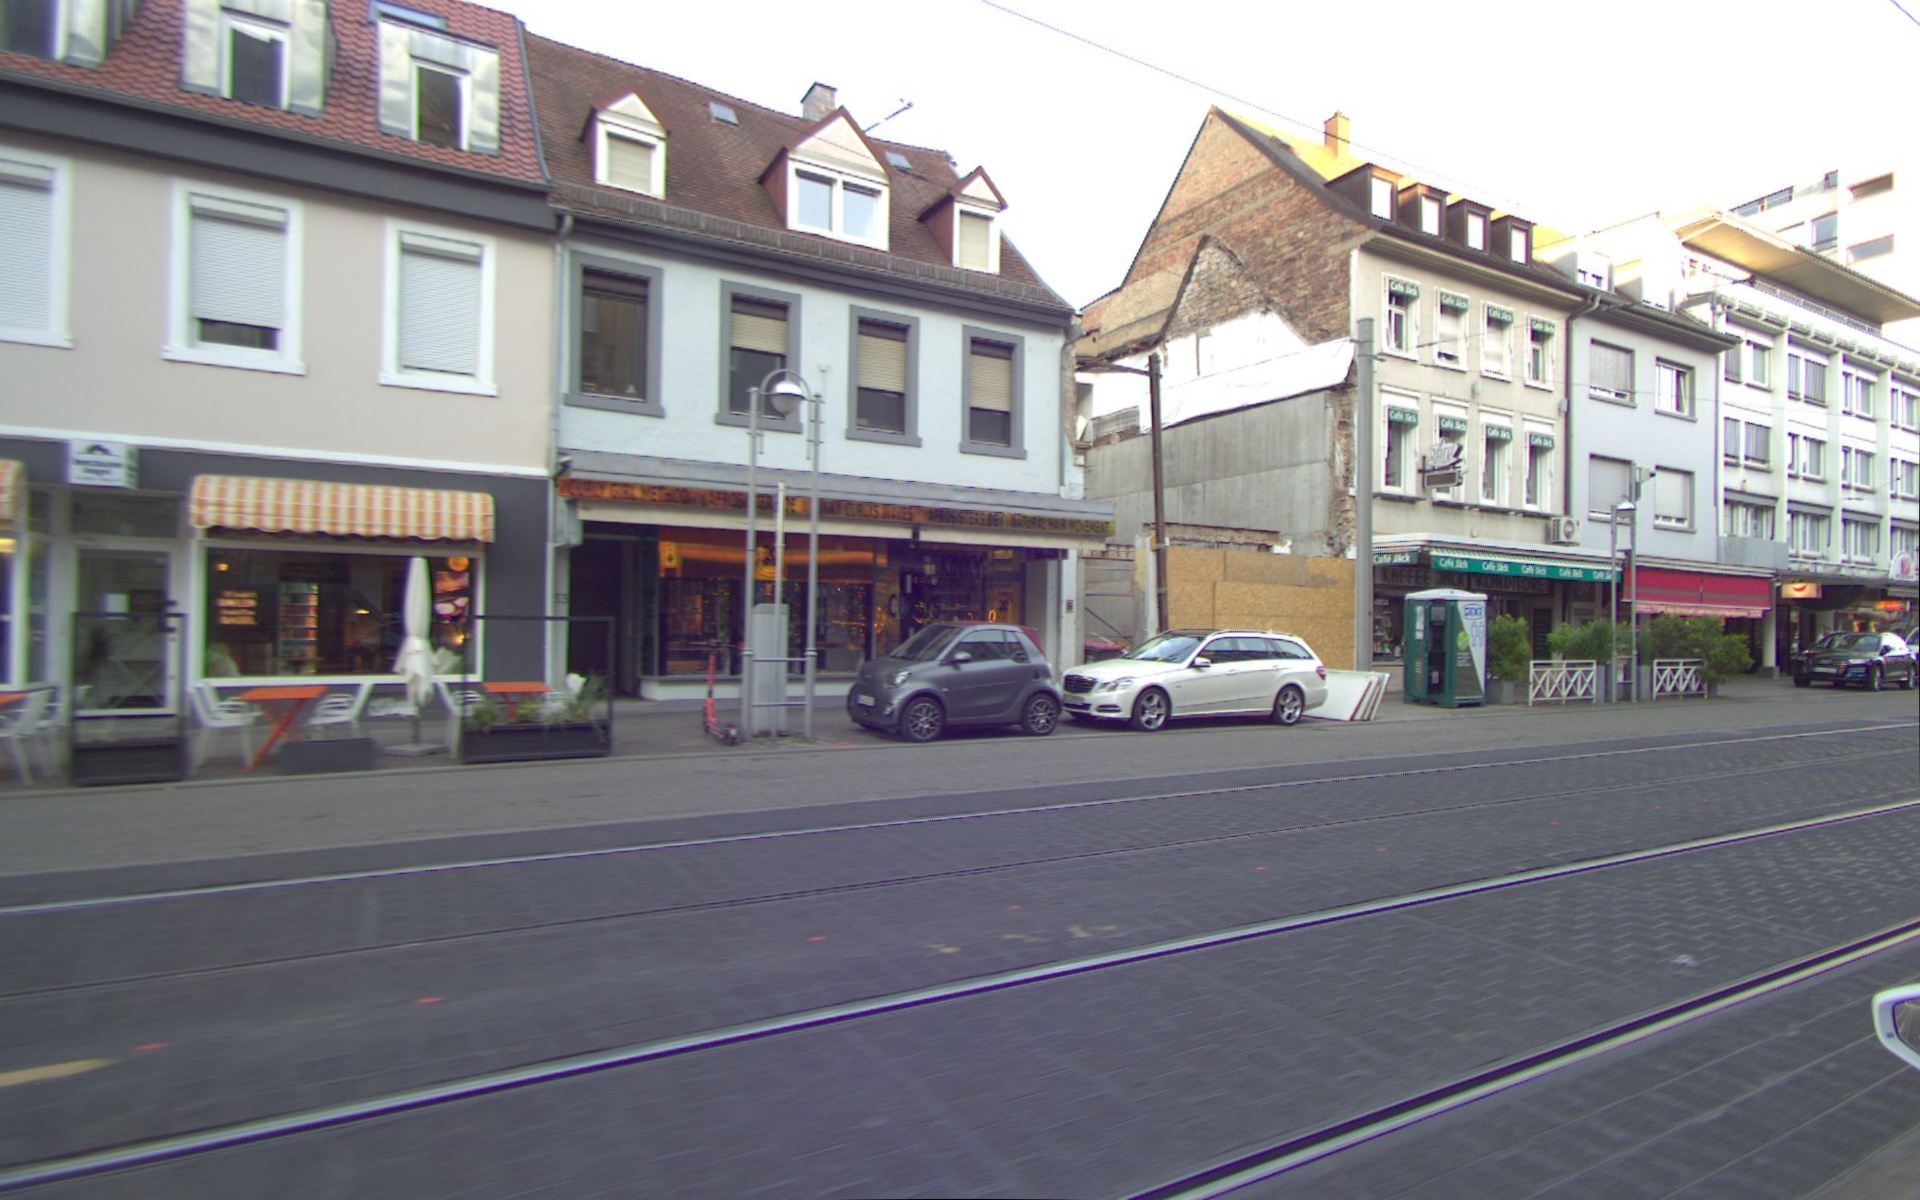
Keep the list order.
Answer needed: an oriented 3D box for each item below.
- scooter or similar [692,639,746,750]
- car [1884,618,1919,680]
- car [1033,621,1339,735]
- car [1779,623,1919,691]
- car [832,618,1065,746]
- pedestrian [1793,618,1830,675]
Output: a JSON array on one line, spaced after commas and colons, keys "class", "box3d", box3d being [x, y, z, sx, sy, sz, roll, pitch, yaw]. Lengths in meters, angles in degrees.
[{"class": "scooter or similar", "box3d": [-2.970, 1.120, 12.316, 0.290, 1.221, 1.308, 1, 1, -28]}, {"class": "car", "box3d": [33.175, 1.672, 33.619, 4.784, 1.961, 1.908, 2, 1, -30]}, {"class": "car", "box3d": [3.682, 1.180, 16.133, 4.784, 1.524, 1.841, 2, 1, -30]}, {"class": "car", "box3d": [26.528, 1.654, 29.831, 4.377, 1.786, 1.908, 2, 1, -30]}, {"class": "car", "box3d": [-0.157, 1.063, 13.863, 2.780, 1.524, 1.583, 2, 1, -31]}, {"class": "pedestrian", "box3d": [28.636, 1.558, 33.789, 0.827, 1.844, 0.645, 1, 2, -29]}]
